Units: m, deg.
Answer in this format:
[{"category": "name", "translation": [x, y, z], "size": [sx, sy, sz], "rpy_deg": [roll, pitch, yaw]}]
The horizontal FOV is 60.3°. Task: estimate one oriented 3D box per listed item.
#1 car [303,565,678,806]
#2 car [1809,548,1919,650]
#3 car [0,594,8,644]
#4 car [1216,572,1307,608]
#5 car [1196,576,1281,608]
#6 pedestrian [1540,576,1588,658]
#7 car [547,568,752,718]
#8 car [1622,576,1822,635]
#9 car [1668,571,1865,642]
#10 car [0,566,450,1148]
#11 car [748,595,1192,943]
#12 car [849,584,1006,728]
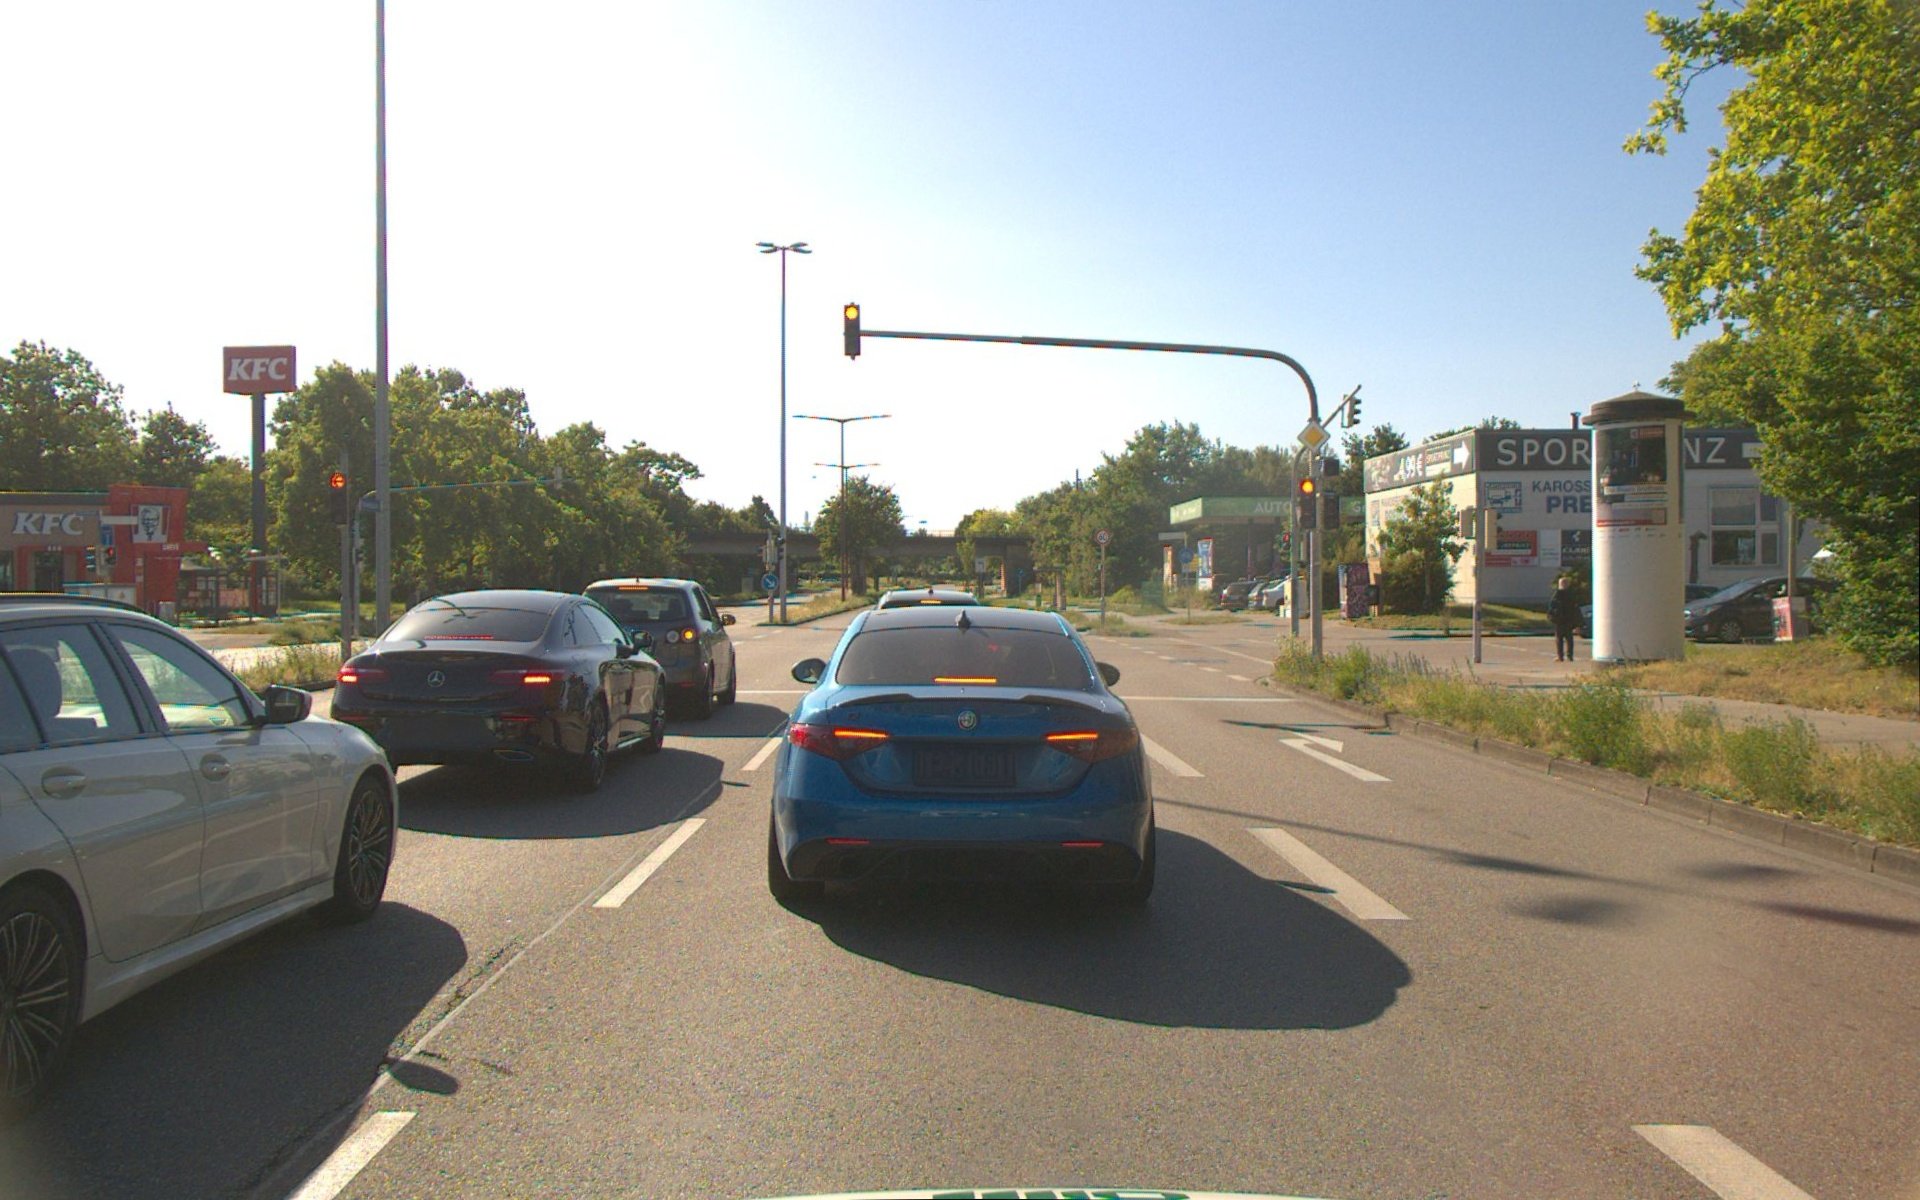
[{"category": "car", "translation": [-3.488, 0.553, 13.199], "size": [1.775, 1.578, 4.542], "rpy_deg": [1, 0, -1]}, {"category": "car", "translation": [26.859, -0.065, 45.735], "size": [5.715, 2.719, 2.000], "rpy_deg": [-1, 0, 0]}, {"category": "car", "translation": [-35.822, 0.642, 59.187], "size": [4.026, 1.770, 1.922], "rpy_deg": [1, 0, 43]}, {"category": "car", "translation": [14.096, -0.464, 77.533], "size": [3.905, 1.579, 2.000], "rpy_deg": [1, 0, 0]}, {"category": "car", "translation": [14.504, -0.415, 86.245], "size": [3.925, 1.579, 1.990], "rpy_deg": [1, 0, -18]}, {"category": "pedestrian", "translation": [12.655, 0.358, 34.663], "size": [0.800, 1.698, 0.514], "rpy_deg": [1, -1, -1]}, {"category": "car", "translation": [-3.617, 0.476, 19.997], "size": [1.776, 1.578, 4.351], "rpy_deg": [1, 0, -2]}, {"category": "car", "translation": [20.942, 0.162, 45.543], "size": [4.722, 1.493, 1.758], "rpy_deg": [1, 0, -3]}, {"category": "car", "translation": [20.454, 0.173, 42.034], "size": [4.219, 1.678, 1.637], "rpy_deg": [1, 0, -2]}, {"category": "car", "translation": [-3.370, 0.639, 5.713], "size": [1.775, 1.512, 4.596], "rpy_deg": [1, 0, 0]}, {"category": "car", "translation": [0.072, 0.728, 8.915], "size": [1.870, 1.447, 3.719], "rpy_deg": [1, 0, 1]}, {"category": "car", "translation": [-0.324, 0.610, 19.715], "size": [1.669, 1.523, 3.719], "rpy_deg": [1, 0, 1]}]
